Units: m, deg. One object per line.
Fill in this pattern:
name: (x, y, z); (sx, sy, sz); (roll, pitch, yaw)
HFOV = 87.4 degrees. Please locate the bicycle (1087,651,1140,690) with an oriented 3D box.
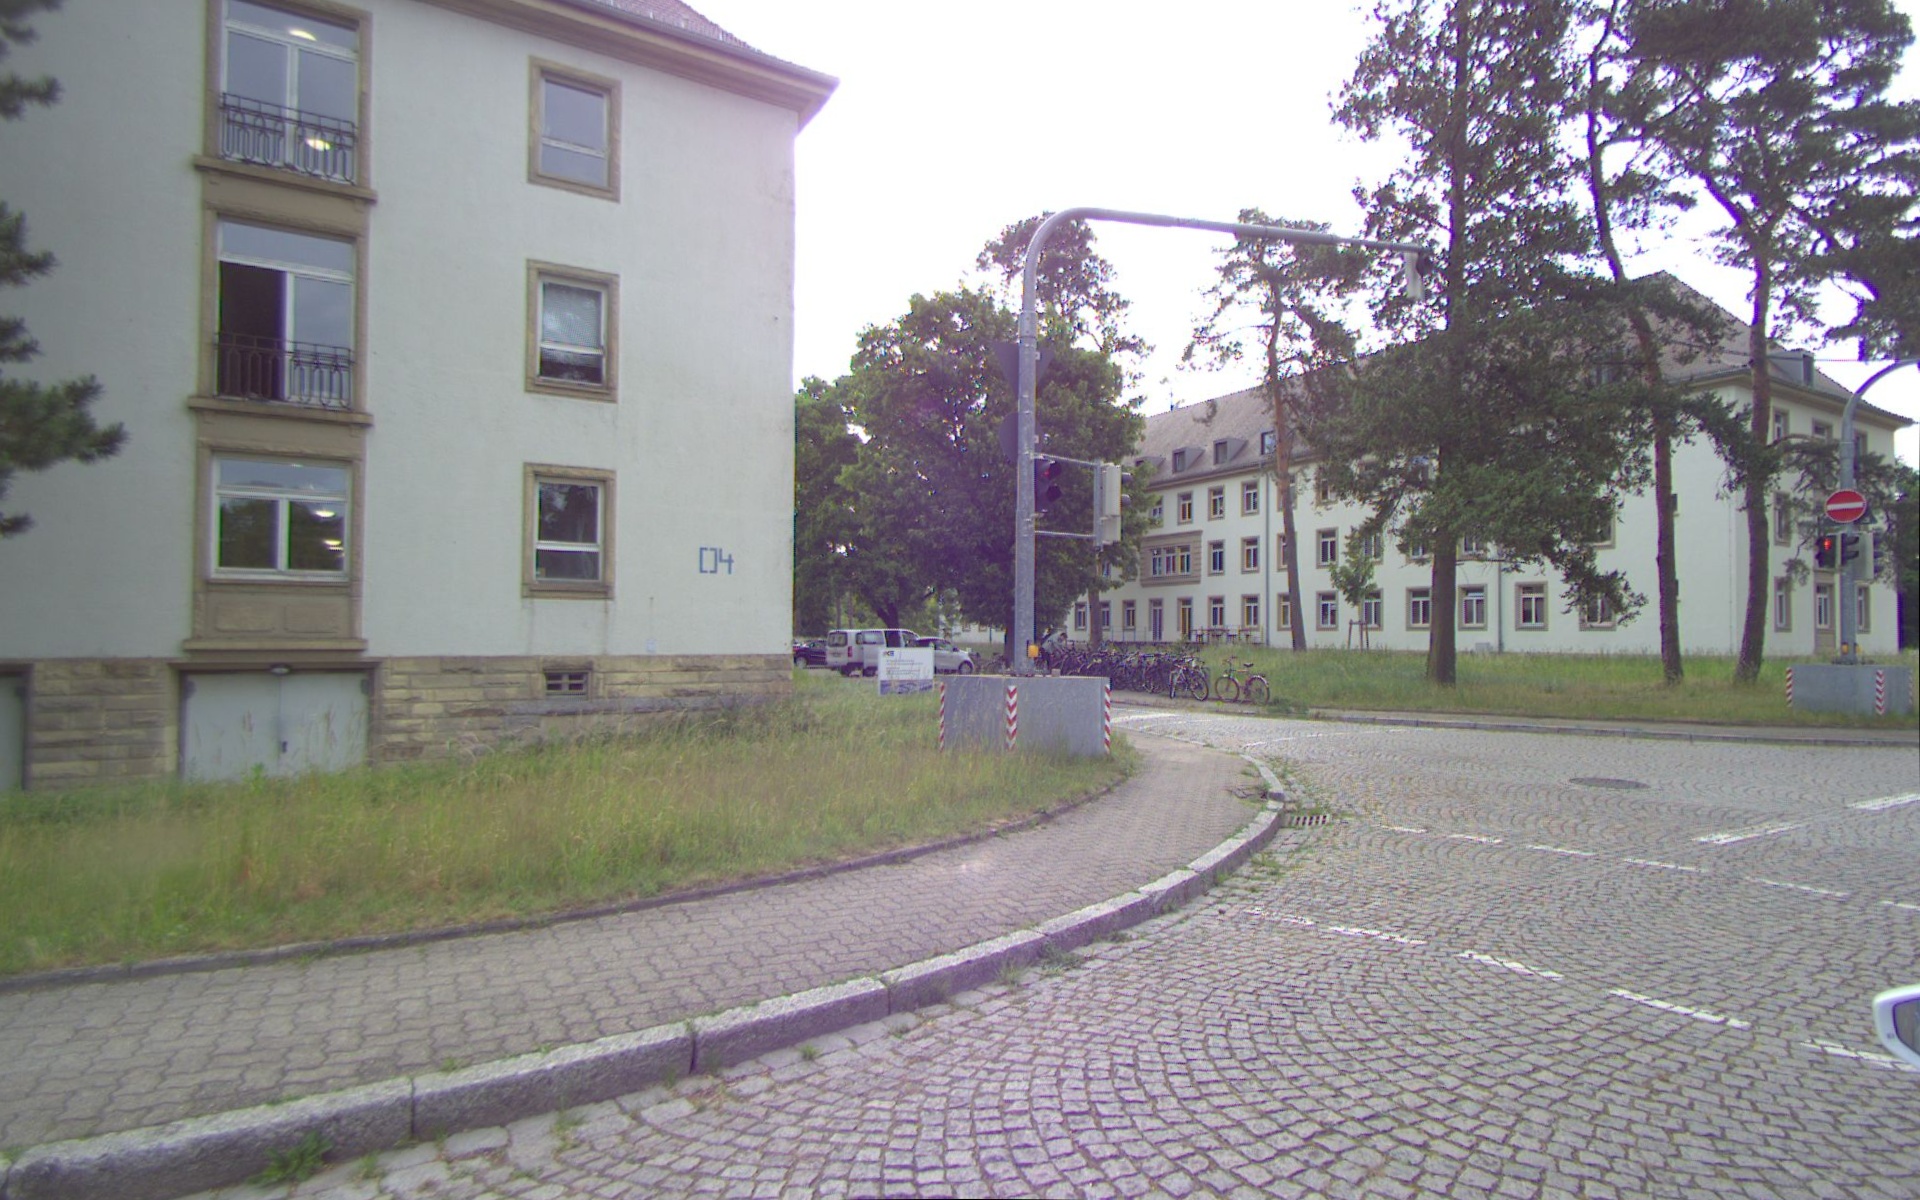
bicycle: (4.472, 2.040, 29.289); (1.567, 1.093, 0.512); (2, -3, -30)

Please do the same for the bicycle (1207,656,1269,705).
bicycle: (6.477, 1.860, 23.451); (0.510, 1.079, 1.457); (2, -3, -31)

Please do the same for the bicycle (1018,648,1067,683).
bicycle: (2.671, 2.100, 32.472); (1.567, 1.093, 0.512); (2, -3, -30)

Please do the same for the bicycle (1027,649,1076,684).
bicycle: (2.927, 2.100, 32.043); (1.567, 1.093, 0.512); (2, -3, -30)

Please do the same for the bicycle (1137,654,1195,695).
bicycle: (5.591, 2.003, 27.262); (1.565, 1.093, 0.512); (2, -3, -28)

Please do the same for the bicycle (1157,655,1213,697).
bicycle: (6.000, 2.005, 26.720); (1.568, 1.093, 0.511); (2, -3, -33)

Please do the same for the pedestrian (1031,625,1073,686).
pedestrian: (2.805, 1.688, 30.895); (1.135, 1.812, 1.064); (-1, -1, -2)

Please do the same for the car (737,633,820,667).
car: (-9.806, 2.698, 54.301); (4.051, 1.716, 1.789); (2, -2, -34)

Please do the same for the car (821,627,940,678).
car: (-3.270, 2.157, 42.056); (4.877, 1.977, 1.839); (2, -2, -44)

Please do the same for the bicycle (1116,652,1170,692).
bicycle: (5.148, 2.007, 28.237); (1.567, 1.093, 0.512); (2, -3, -30)

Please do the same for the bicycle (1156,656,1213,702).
bicycle: (5.528, 1.932, 24.785); (0.510, 1.093, 1.457); (2, -3, -31)

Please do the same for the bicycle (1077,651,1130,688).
bicycle: (4.243, 2.043, 29.678); (1.567, 1.093, 0.512); (2, -3, -30)

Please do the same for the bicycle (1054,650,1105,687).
bicycle: (3.653, 2.091, 30.699); (1.567, 1.093, 0.512); (2, -3, -30)

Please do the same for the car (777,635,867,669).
car: (-6.806, 2.562, 49.689); (4.051, 1.547, 1.789); (2, -2, -34)

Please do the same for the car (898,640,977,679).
car: (-0.878, 2.330, 39.494); (2.756, 1.446, 1.509); (2, -2, -31)

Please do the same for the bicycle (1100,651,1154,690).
bicycle: (4.797, 2.017, 28.760); (1.567, 1.093, 0.512); (2, -3, -30)

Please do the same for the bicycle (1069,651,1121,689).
bicycle: (4.046, 2.073, 30.007); (1.567, 1.093, 0.512); (2, -3, -30)

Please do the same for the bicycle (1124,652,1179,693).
bicycle: (5.322, 2.007, 27.921); (1.567, 1.093, 0.512); (2, -3, -30)
